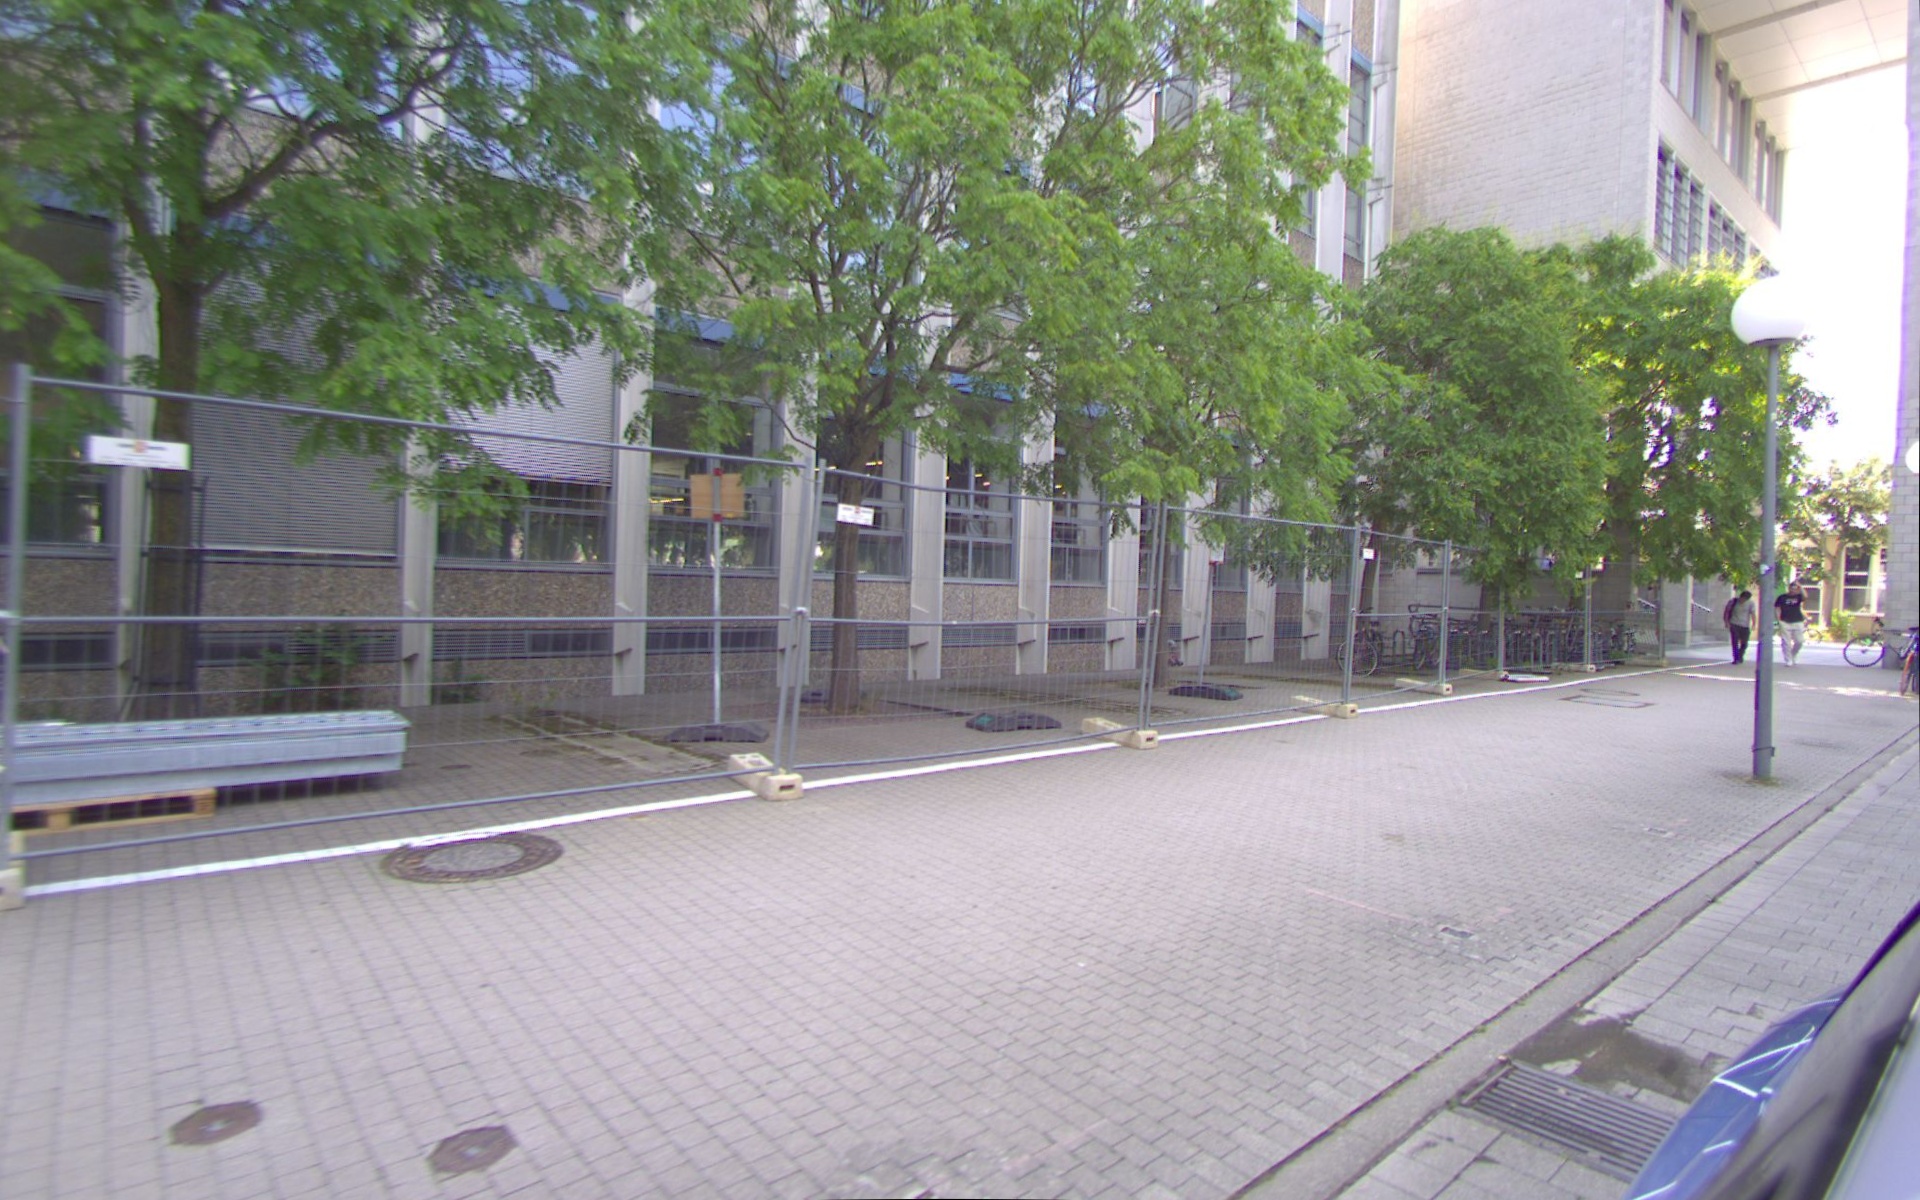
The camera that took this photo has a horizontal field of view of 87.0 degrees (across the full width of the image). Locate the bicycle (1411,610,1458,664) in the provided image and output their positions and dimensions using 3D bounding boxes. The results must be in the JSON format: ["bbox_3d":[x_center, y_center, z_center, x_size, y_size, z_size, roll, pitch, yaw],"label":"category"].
[{"bbox_3d":[8.548,0.646,18.203,0.290,0.917,1.779,2,1,40],"label":"bicycle"}]

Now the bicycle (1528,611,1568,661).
[{"bbox_3d":[11.341,0.686,19.502,0.291,0.917,1.424,2,1,45],"label":"bicycle"}]

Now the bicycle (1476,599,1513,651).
[{"bbox_3d":[11.749,0.533,22.217,0.291,1.113,1.424,2,1,45],"label":"bicycle"}]

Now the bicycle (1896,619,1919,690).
[{"bbox_3d":[15.397,0.859,16.115,1.826,1.052,0.538,0,2,-42],"label":"bicycle"}]

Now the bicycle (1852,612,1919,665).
[{"bbox_3d":[19.907,0.821,21.242,1.739,1.052,0.442,3,1,45],"label":"bicycle"}]

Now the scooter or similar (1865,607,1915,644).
[{"bbox_3d":[31.183,0.843,33.944,0.436,1.165,1.158,2,1,-36],"label":"scooter or similar"}]

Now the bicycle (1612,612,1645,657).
[{"bbox_3d":[14.203,0.721,21.482,0.291,0.917,1.424,2,1,45],"label":"bicycle"}]

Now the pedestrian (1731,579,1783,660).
[{"bbox_3d":[17.109,0.403,21.742,0.697,1.676,0.873,2,1,31],"label":"pedestrian"}]

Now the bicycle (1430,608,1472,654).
[{"bbox_3d":[10.086,0.622,20.770,0.291,0.917,1.424,2,1,45],"label":"bicycle"}]

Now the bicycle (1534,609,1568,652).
[{"bbox_3d":[13.302,0.667,22.767,0.291,0.917,1.424,2,1,45],"label":"bicycle"}]

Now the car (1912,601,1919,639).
[{"bbox_3d":[40.680,0.886,40.352,1.625,1.494,3.774,-2,3,-41],"label":"car"}]

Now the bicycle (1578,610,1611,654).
[{"bbox_3d":[13.862,0.690,22.100,0.291,0.917,1.424,2,1,45],"label":"bicycle"}]

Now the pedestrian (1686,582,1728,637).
[{"bbox_3d":[22.917,0.268,31.047,0.798,1.637,0.736,2,1,20],"label":"pedestrian"}]

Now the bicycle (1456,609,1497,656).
[{"bbox_3d":[10.414,0.640,20.383,0.291,0.917,1.424,2,1,45],"label":"bicycle"}]

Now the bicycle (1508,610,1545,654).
[{"bbox_3d":[12.167,0.679,21.730,0.291,0.898,1.424,2,1,45],"label":"bicycle"}]

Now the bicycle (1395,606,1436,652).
[{"bbox_3d":[9.614,0.599,21.344,0.291,0.917,1.424,2,1,45],"label":"bicycle"}]

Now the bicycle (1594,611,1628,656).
[{"bbox_3d":[13.990,0.704,21.744,0.291,0.917,1.424,2,1,45],"label":"bicycle"}]

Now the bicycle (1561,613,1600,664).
[{"bbox_3d":[11.758,0.711,19.156,0.291,0.917,1.424,2,1,45],"label":"bicycle"}]

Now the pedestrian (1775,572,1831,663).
[{"bbox_3d":[17.603,0.352,21.152,0.697,1.825,0.873,2,1,31],"label":"pedestrian"}]

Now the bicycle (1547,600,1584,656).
[{"bbox_3d":[12.697,0.570,21.204,0.291,1.142,1.424,2,1,45],"label":"bicycle"}]

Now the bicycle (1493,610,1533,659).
[{"bbox_3d":[10.884,0.663,19.898,0.291,0.917,1.424,2,1,45],"label":"bicycle"}]

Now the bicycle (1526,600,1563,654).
[{"bbox_3d":[12.404,0.557,21.468,0.291,1.108,1.424,2,1,45],"label":"bicycle"}]

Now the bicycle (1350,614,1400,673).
[{"bbox_3d":[6.928,0.703,16.866,0.290,0.917,1.595,2,1,40],"label":"bicycle"}]

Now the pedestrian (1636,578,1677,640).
[{"bbox_3d":[20.893,0.256,30.357,0.955,1.837,0.759,1,0,38],"label":"pedestrian"}]
